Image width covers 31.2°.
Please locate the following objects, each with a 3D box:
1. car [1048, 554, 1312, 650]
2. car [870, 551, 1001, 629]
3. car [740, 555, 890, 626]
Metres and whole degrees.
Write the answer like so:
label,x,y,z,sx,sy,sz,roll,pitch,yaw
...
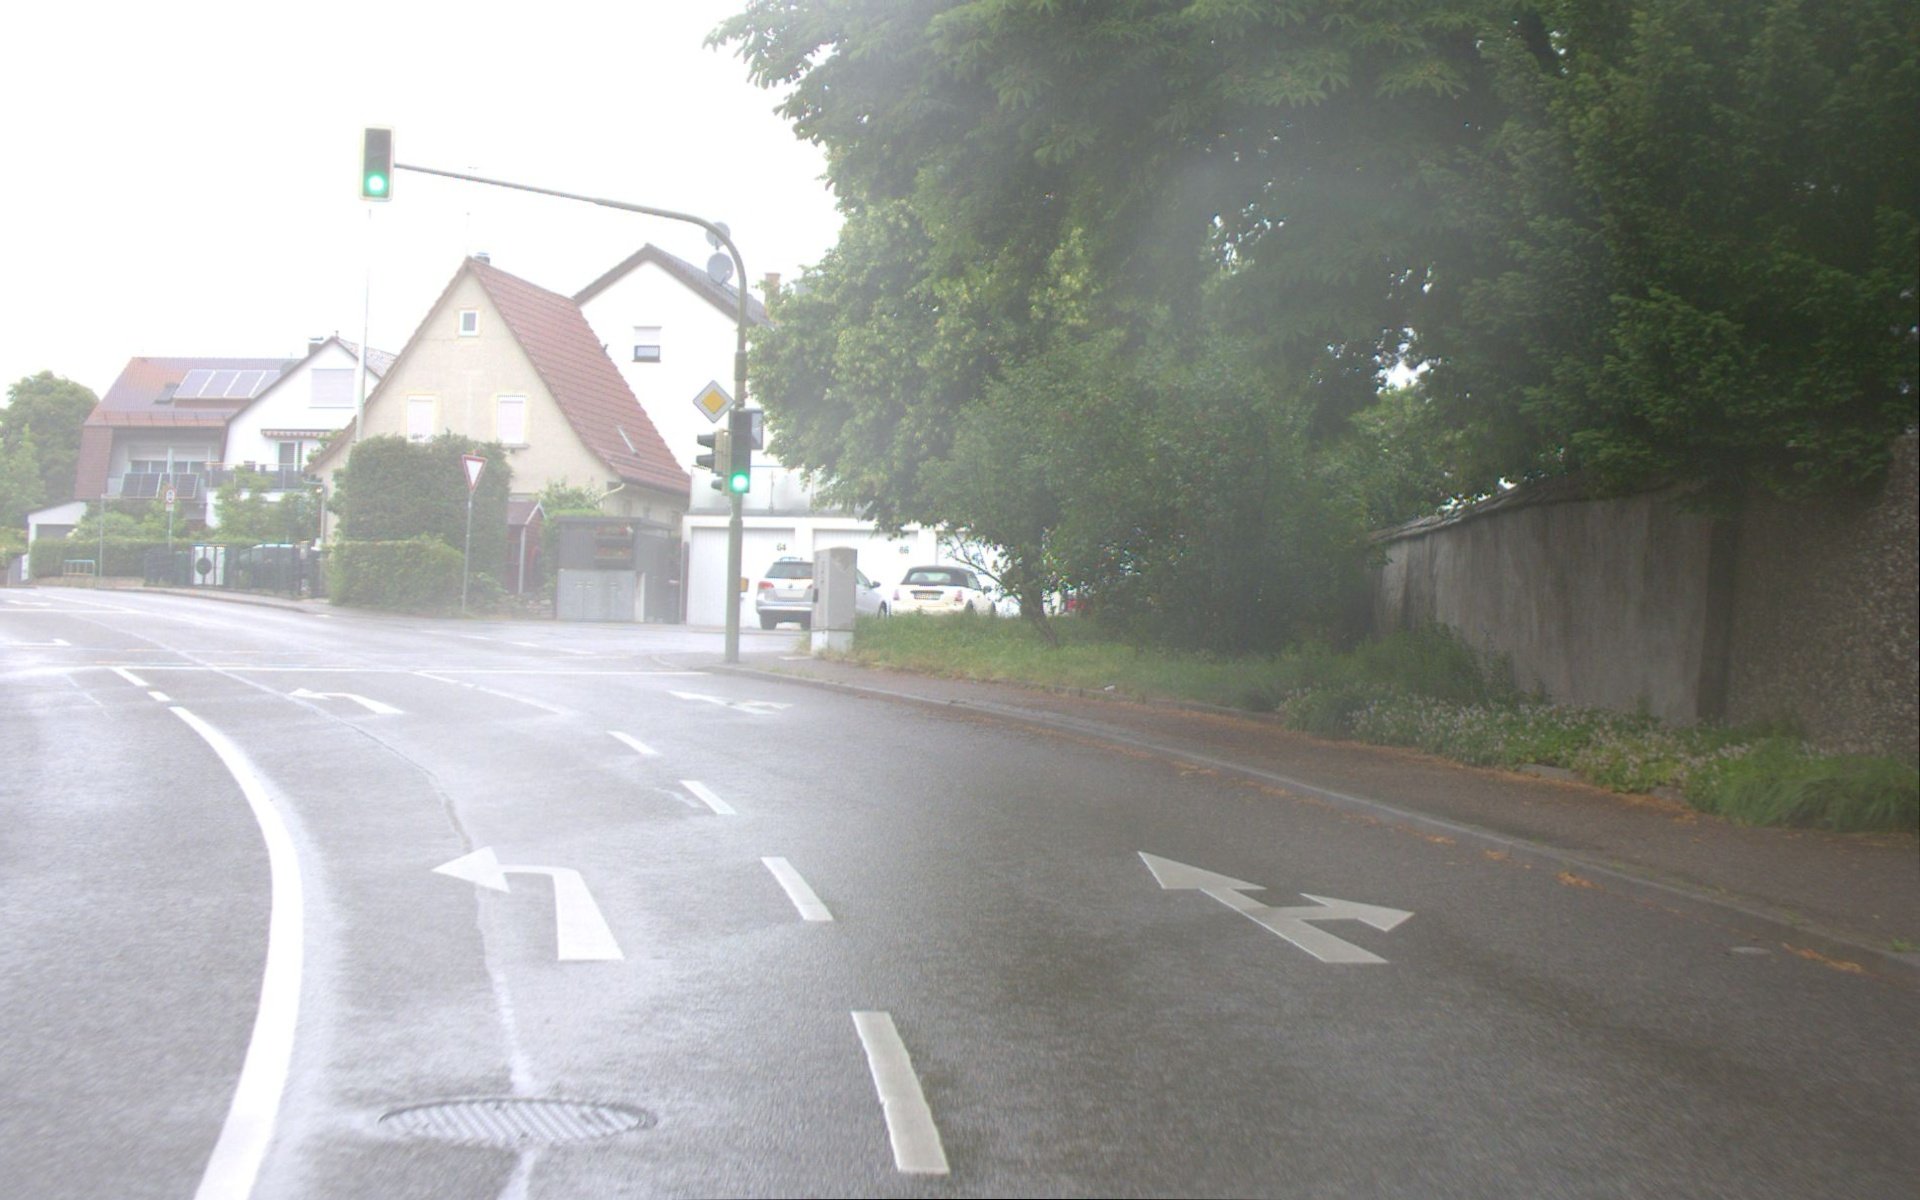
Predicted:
label,x,y,z,sx,sy,sz,roll,pitch,yaw
car,3.714,0.025,58.471,4.174,1.437,1.834,2,0,-5
car,-0.466,-0.224,71.052,1.994,1.525,3.998,1,1,10
car,-2.973,-0.227,71.561,1.995,1.393,4.148,1,1,14
